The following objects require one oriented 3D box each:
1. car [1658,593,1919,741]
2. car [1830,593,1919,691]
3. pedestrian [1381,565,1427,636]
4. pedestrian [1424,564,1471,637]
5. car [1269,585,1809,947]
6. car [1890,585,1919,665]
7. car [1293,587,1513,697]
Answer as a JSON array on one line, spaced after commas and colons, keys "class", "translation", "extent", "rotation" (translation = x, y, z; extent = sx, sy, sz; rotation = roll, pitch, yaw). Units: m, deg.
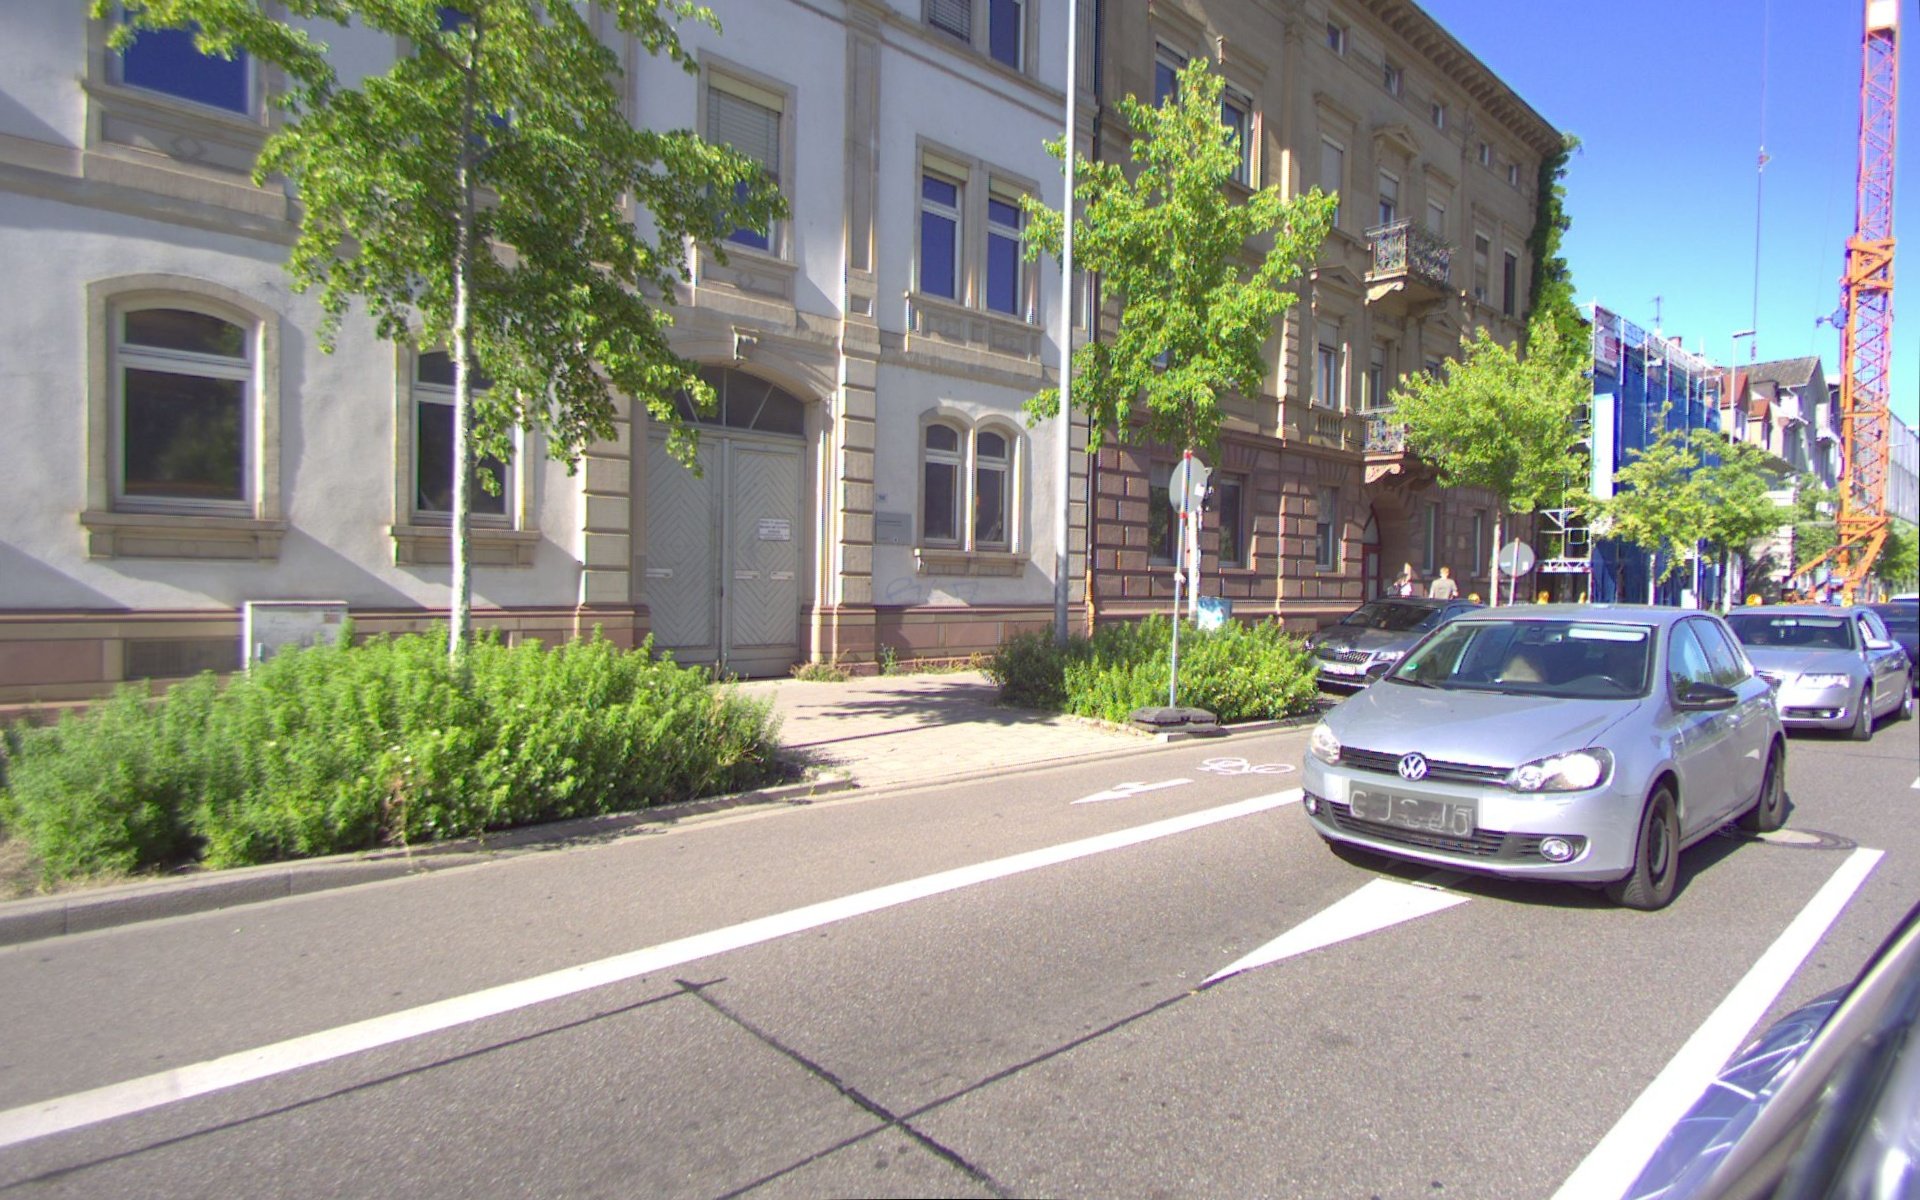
[{"class": "car", "translation": [9.896, 0.645, 11.982], "extent": [3.931, 1.442, 1.837], "rotation": [-1, 1, -42]}, {"class": "car", "translation": [15.567, 0.613, 16.427], "extent": [3.931, 1.442, 1.701], "rotation": [-1, 1, -42]}, {"class": "pedestrian", "translation": [10.166, 0.004, 23.162], "extent": [0.891, 1.581, 0.668], "rotation": [0, 0, -43]}, {"class": "pedestrian", "translation": [10.879, 0.010, 22.568], "extent": [0.891, 1.581, 0.668], "rotation": [0, 0, -43]}, {"class": "car", "translation": [3.688, 0.661, 6.129], "extent": [3.931, 1.493, 1.701], "rotation": [-1, 1, -42]}, {"class": "car", "translation": [21.344, 0.499, 21.703], "extent": [3.931, 1.652, 1.701], "rotation": [0, 0, -42]}, {"class": "car", "translation": [6.915, 0.546, 15.625], "extent": [3.931, 1.461, 1.608], "rotation": [-1, 2, -42]}]
